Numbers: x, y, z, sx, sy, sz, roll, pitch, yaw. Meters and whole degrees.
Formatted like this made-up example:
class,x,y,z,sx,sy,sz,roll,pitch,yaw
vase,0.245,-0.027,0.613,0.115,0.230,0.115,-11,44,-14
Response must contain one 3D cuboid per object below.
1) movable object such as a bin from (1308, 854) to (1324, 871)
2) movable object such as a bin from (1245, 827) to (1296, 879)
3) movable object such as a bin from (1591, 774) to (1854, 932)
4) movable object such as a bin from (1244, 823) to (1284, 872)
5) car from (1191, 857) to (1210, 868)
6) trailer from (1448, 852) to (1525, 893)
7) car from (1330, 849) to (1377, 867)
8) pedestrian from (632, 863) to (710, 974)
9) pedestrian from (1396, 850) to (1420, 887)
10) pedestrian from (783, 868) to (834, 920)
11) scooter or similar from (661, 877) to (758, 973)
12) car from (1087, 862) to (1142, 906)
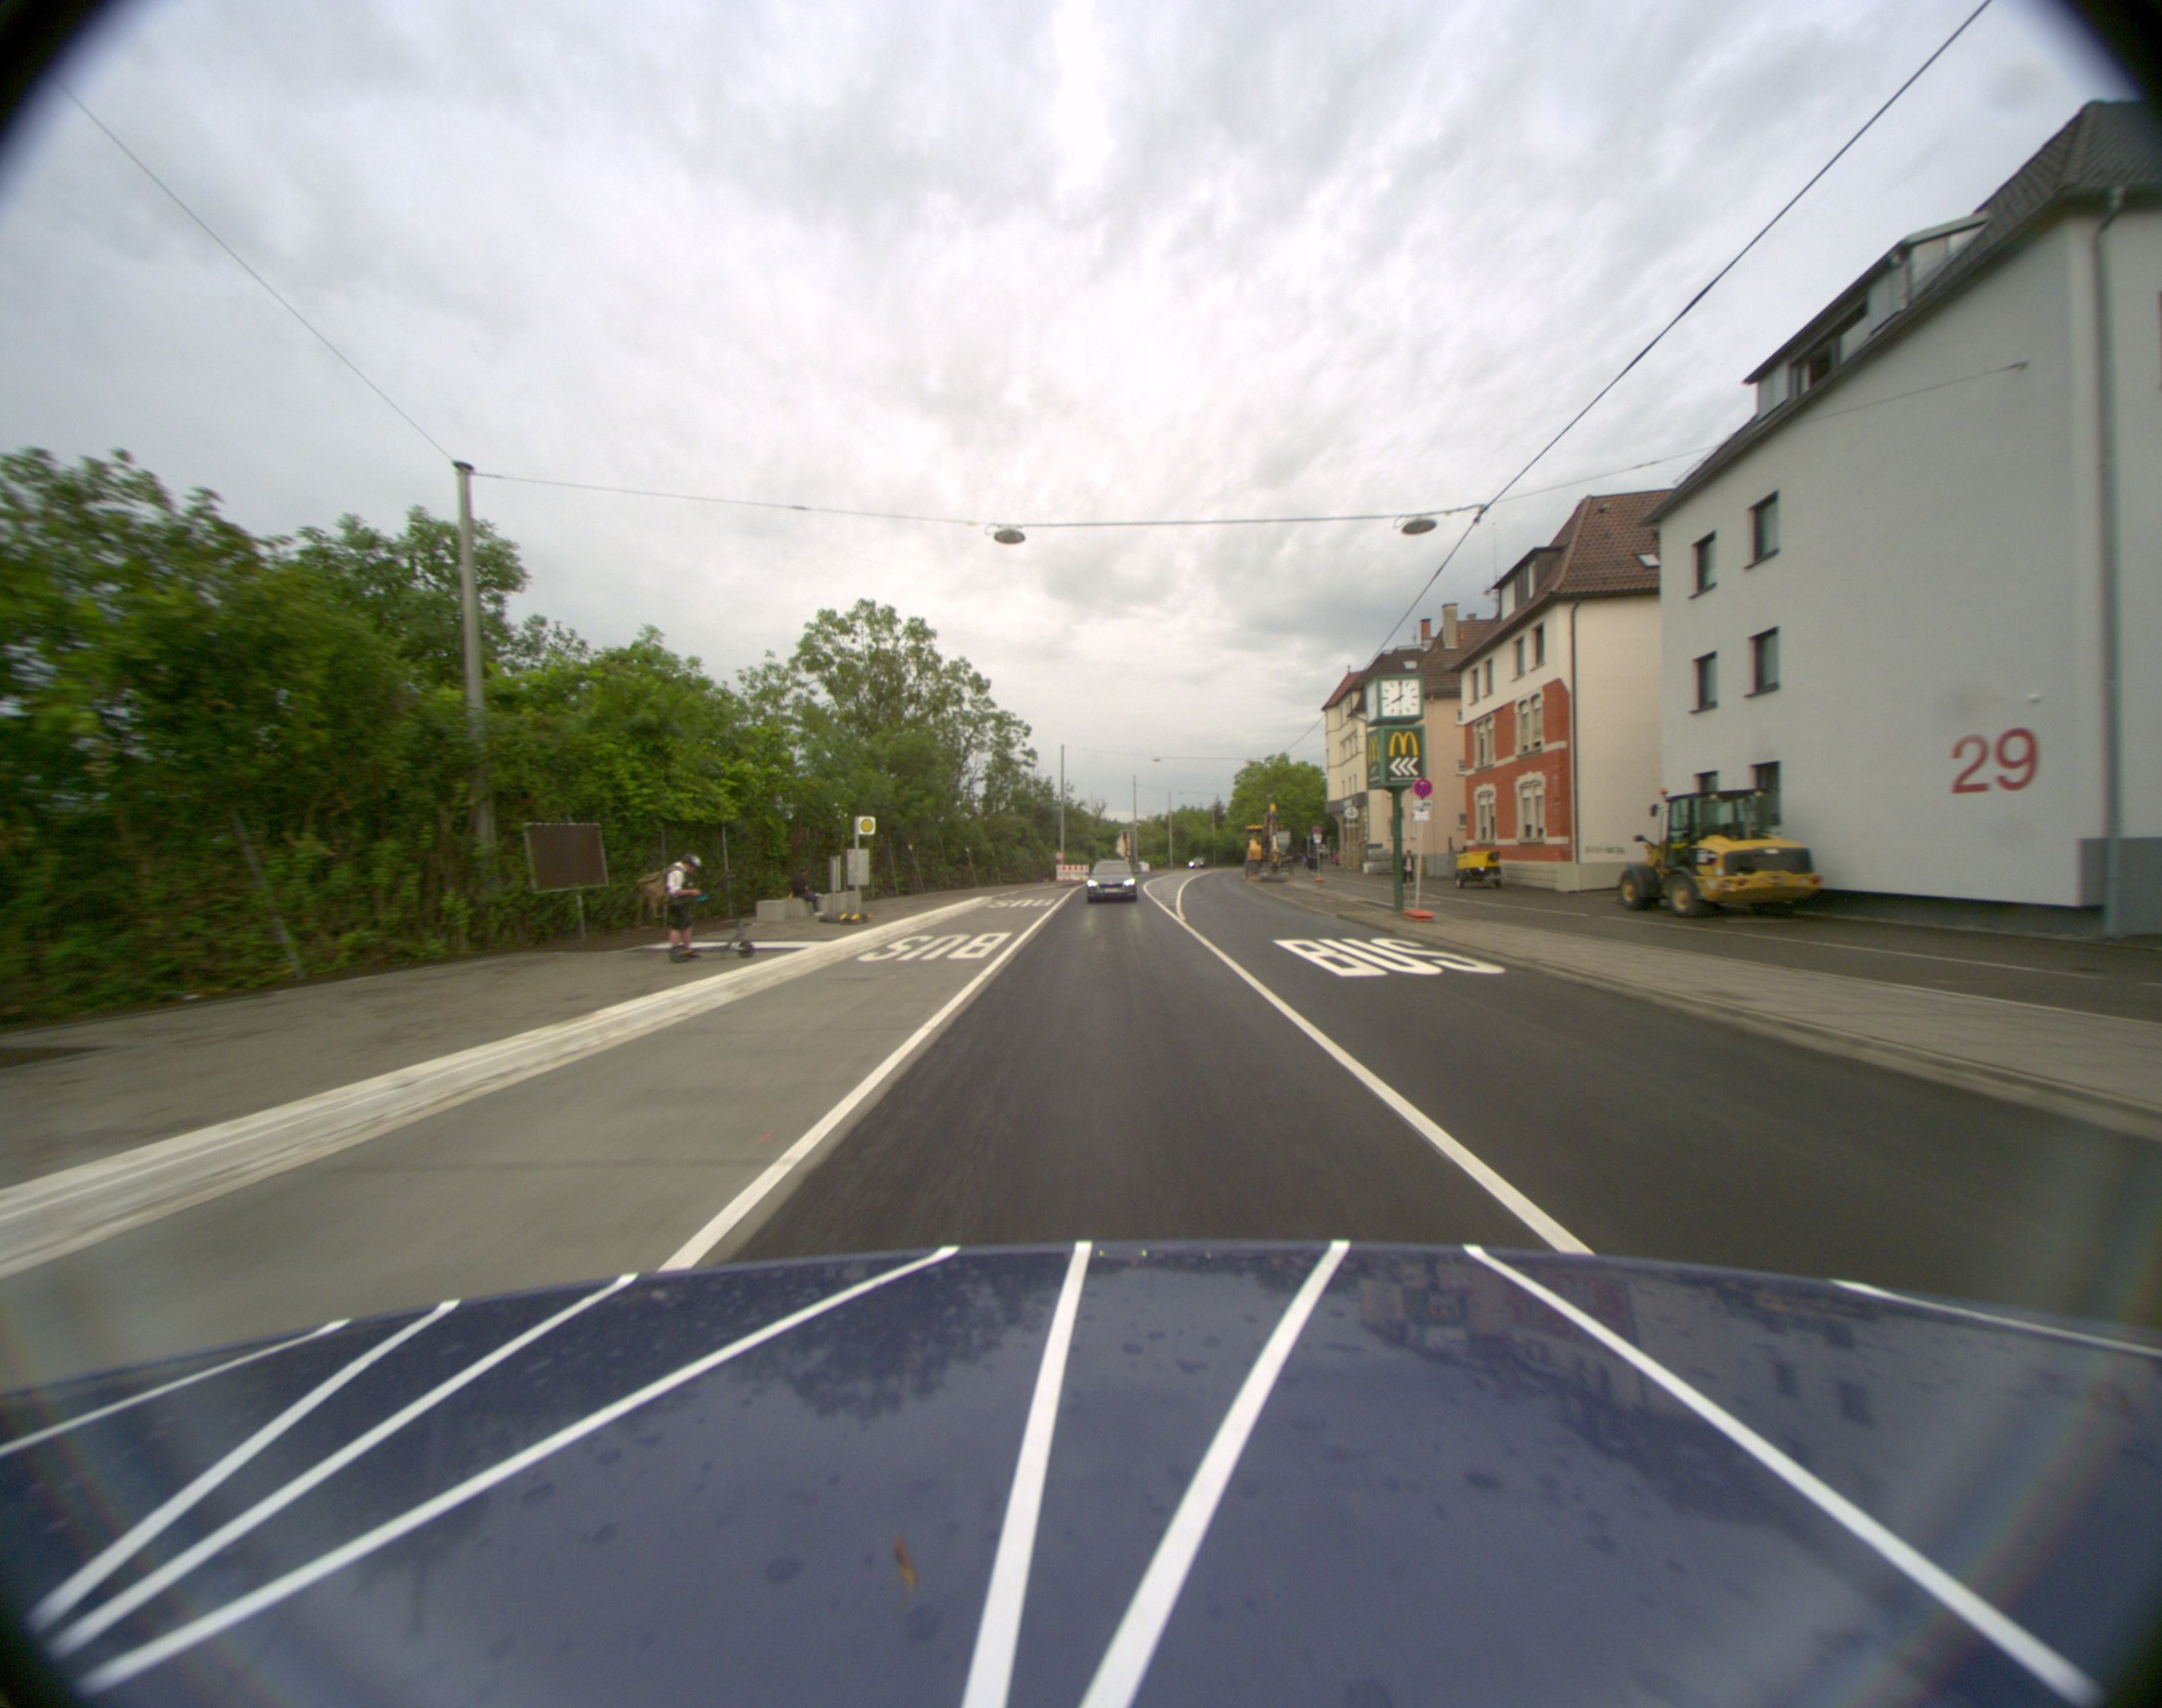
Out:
class,x,y,z,sx,sy,sz,roll,pitch,yaw
movable object such as a bin,18.873,0.659,60.936,1.159,1.295,1.249,-1,0,15
movable object such as a bin,11.959,-0.017,48.325,2.828,3.094,4.637,-1,0,10
movable object such as a bin,13.382,0.008,16.394,2.132,2.790,4.983,-3,-1,12
movable object such as a bin,15.634,-0.538,64.377,2.952,3.821,8.137,-1,0,15
car,15.100,1.111,95.773,1.604,1.295,3.718,-2,-1,19
trailer,14.907,0.638,28.117,1.326,1.390,3.999,-2,0,10
car,26.538,0.345,74.144,3.994,1.655,1.913,-1,0,10
pedestrian,-6.040,0.916,11.197,0.922,1.538,0.543,-2,1,-34
pedestrian,13.796,0.613,32.105,0.603,1.519,1.039,-3,0,8
pedestrian,-7.279,1.051,20.308,1.070,1.322,0.808,-2,1,-34
scooter or similar,-5.497,1.025,11.279,1.245,1.307,0.231,-2,1,-37
car,1.307,1.044,28.117,1.836,1.429,4.002,-2,0,5
